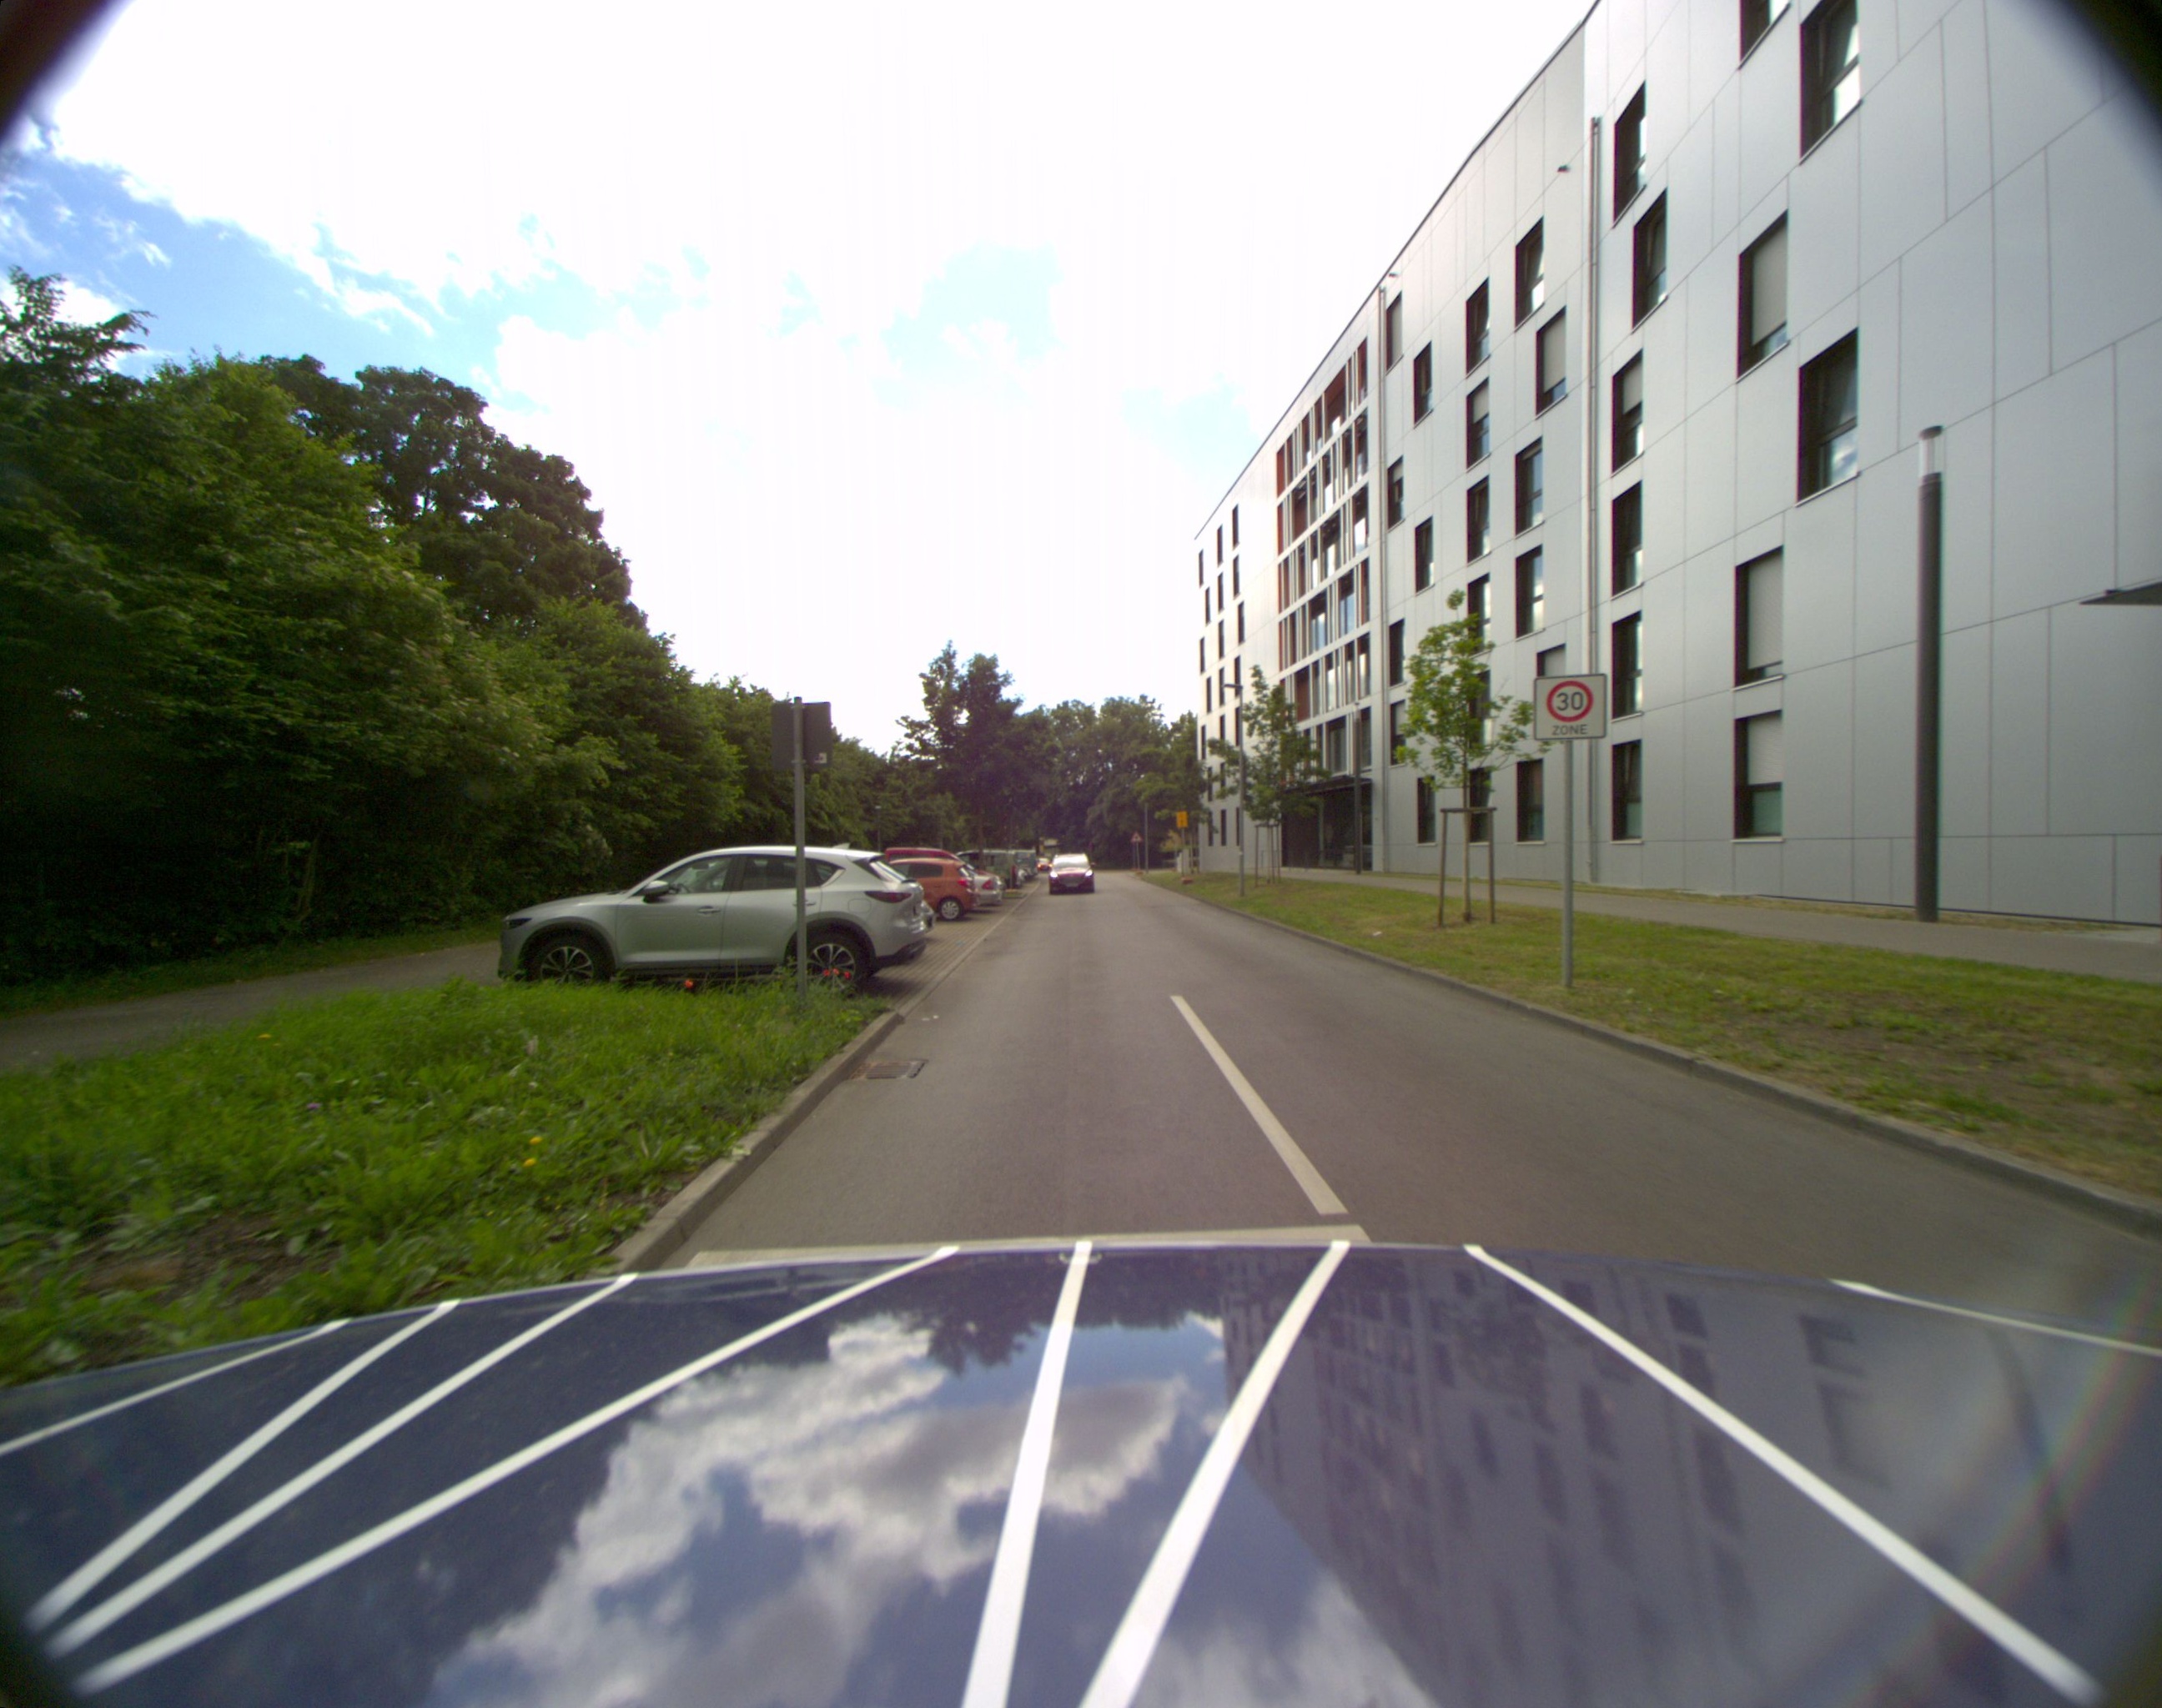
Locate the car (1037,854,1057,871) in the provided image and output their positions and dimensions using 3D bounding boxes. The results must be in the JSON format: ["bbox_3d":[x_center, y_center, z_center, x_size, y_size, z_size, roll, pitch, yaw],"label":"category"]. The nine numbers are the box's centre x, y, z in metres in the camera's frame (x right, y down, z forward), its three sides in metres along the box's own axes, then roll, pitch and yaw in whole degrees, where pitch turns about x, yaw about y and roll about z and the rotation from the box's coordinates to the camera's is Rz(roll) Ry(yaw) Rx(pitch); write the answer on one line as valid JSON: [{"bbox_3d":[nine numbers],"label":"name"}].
[{"bbox_3d":[-3.340,0.801,73.973,1.818,1.608,3.998,0,0,-5],"label":"car"}]

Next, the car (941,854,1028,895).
[{"bbox_3d":[-4.606,0.956,36.720,3.980,1.722,1.883,-3,0,-3],"label":"car"}]

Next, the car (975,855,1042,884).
[{"bbox_3d":[-4.462,0.935,47.130,3.980,1.594,2.104,-1,3,-3],"label":"car"}]

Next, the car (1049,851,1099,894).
[{"bbox_3d":[-0.300,0.740,32.645,1.933,1.622,4.241,-3,1,-1],"label":"car"}]

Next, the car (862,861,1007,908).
[{"bbox_3d":[-4.557,0.930,24.124,4.292,1.401,1.837,0,0,-3],"label":"car"}]

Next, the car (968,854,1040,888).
[{"bbox_3d":[-4.459,0.995,44.572,3.980,1.722,1.883,-3,0,-3],"label":"car"}]

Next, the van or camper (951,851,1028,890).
[{"bbox_3d":[-4.991,0.902,41.957,3.980,1.862,1.728,-3,1,-3],"label":"van or camper"}]

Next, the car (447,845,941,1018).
[{"bbox_3d":[-4.110,0.816,8.851,4.662,1.742,2.069,1,0,-5],"label":"car"}]

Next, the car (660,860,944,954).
[{"bbox_3d":[-4.888,0.916,13.851,4.489,1.553,1.911,0,0,-3],"label":"car"}]

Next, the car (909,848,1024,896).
[{"bbox_3d":[-4.719,0.733,31.910,4.563,1.888,1.883,1,0,-3],"label":"car"}]

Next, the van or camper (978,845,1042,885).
[{"bbox_3d":[-4.563,0.689,49.430,3.980,2.306,1.883,-3,1,-3],"label":"van or camper"}]

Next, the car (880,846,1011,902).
[{"bbox_3d":[-4.641,0.677,26.512,4.292,1.881,1.837,0,0,-3],"label":"car"}]

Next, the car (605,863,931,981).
[{"bbox_3d":[-4.509,0.952,11.482,4.166,1.577,1.795,0,0,-3],"label":"car"}]

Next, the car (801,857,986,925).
[{"bbox_3d":[-4.561,0.886,18.910,4.157,1.582,1.677,0,0,1],"label":"car"}]

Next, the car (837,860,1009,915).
[{"bbox_3d":[-4.321,0.898,21.310,4.408,1.427,1.944,0,0,-1],"label":"car"}]

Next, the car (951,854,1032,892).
[{"bbox_3d":[-4.573,0.945,39.411,3.980,1.722,1.883,-3,0,-3],"label":"car"}]
